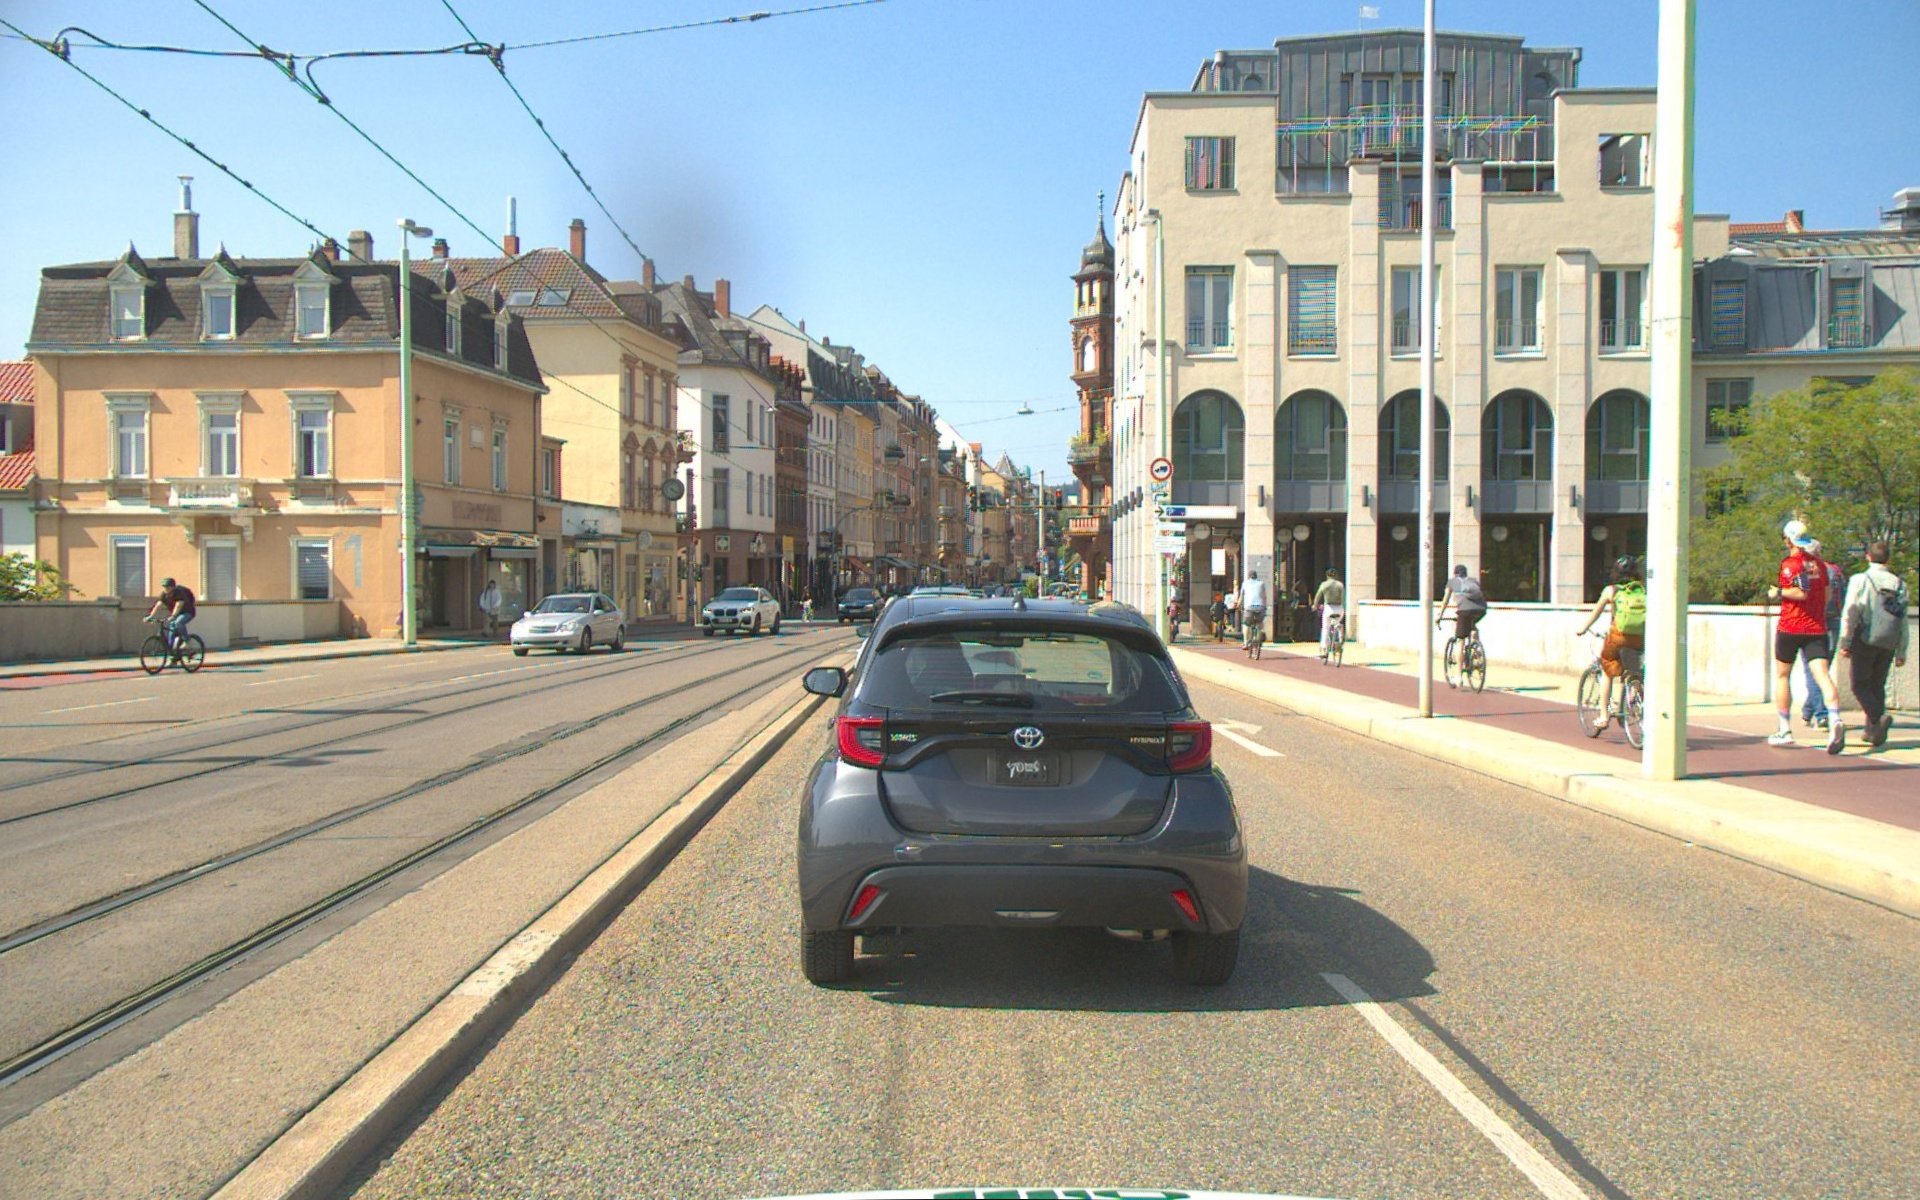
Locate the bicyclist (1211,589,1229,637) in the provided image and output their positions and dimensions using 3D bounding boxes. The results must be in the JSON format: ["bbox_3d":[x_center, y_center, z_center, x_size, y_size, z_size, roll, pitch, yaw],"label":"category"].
[{"bbox_3d":[7.716,0.380,49.116,0.413,1.407,0.443,-2,0,-1],"label":"bicyclist"}]

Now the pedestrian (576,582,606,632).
[{"bbox_3d":[-13.017,0.246,58.359,0.746,1.682,0.712,4,0,7],"label":"pedestrian"}]

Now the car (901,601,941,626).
[{"bbox_3d":[-2.416,0.825,102.598,1.951,1.457,4.003,1,0,6],"label":"car"}]

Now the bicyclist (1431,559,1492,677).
[{"bbox_3d":[6.862,0.238,22.648,0.575,1.586,0.701,-1,0,-3],"label":"bicyclist"}]

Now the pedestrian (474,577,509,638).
[{"bbox_3d":[-14.261,0.234,50.381,0.721,1.796,0.787,4,0,-1],"label":"pedestrian"}]

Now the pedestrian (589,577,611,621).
[{"bbox_3d":[-14.067,-0.043,64.589,0.636,1.629,0.566,4,2,-1],"label":"pedestrian"}]

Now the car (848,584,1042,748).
[{"bbox_3d":[-0.185,0.634,18.137,1.859,1.557,3.999,1,0,-1],"label":"car"}]

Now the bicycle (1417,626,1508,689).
[{"bbox_3d":[6.868,0.773,22.691,0.582,0.779,1.830,-1,0,-3],"label":"bicycle"}]

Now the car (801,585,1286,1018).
[{"bbox_3d":[0.261,0.703,7.673,1.685,1.499,3.657,1,0,-1],"label":"car"}]

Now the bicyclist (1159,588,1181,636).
[{"bbox_3d":[6.249,0.349,49.210,0.523,1.407,0.669,-2,0,-1],"label":"bicyclist"}]

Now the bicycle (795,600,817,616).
[{"bbox_3d":[-7.695,0.393,82.890,0.607,0.728,2.047,2,1,8],"label":"bicycle"}]

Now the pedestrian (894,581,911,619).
[{"bbox_3d":[-4.105,-0.024,118.156,1.030,2.632,1.501,4,0,-1],"label":"pedestrian"}]

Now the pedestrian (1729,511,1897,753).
[{"bbox_3d":[7.214,0.259,14.039,0.794,1.958,1.127,-1,0,-1],"label":"pedestrian"}]

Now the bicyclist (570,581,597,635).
[{"bbox_3d":[-11.943,0.256,52.514,0.614,1.679,0.622,2,1,8],"label":"bicyclist"}]

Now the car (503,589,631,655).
[{"bbox_3d":[-9.272,0.498,39.386,1.694,1.486,4.376,0,0,4],"label":"car"}]

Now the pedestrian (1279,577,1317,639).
[{"bbox_3d":[9.341,0.220,45.721,0.724,1.642,1.015,4,0,-1],"label":"pedestrian"}]

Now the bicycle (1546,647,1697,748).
[{"bbox_3d":[5.928,0.851,14.923,0.581,0.779,1.866,-1,0,-1],"label":"bicycle"}]

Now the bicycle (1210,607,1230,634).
[{"bbox_3d":[7.723,0.596,49.086,0.408,0.779,0.961,-2,0,-1],"label":"bicycle"}]

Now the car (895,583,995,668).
[{"bbox_3d":[-0.325,0.470,33.405,1.859,1.557,3.999,1,0,-1],"label":"car"}]

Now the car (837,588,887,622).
[{"bbox_3d":[-4.626,0.215,78.620,1.756,1.572,3.923,0,0,6],"label":"car"}]

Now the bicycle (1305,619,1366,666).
[{"bbox_3d":[6.795,0.762,30.005,0.582,0.779,1.865,-1,0,-3],"label":"bicycle"}]

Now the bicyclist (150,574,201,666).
[{"bbox_3d":[-14.697,0.372,30.992,0.614,1.679,0.622,2,1,0],"label":"bicyclist"}]

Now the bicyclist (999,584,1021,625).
[{"bbox_3d":[3.206,0.296,106.448,1.202,2.572,1.105,4,0,3],"label":"bicyclist"}]

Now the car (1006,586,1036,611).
[{"bbox_3d":[5.518,-0.119,148.184,1.951,2.048,4.003,4,0,11],"label":"car"}]

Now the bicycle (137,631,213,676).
[{"bbox_3d":[-14.716,0.996,31.057,0.608,0.728,1.731,2,1,-1],"label":"bicycle"}]

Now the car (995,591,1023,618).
[{"bbox_3d":[4.013,0.362,134.834,1.952,2.048,4.002,4,0,4],"label":"car"}]

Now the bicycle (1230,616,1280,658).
[{"bbox_3d":[6.007,0.741,33.752,0.582,0.779,1.865,-1,0,-3],"label":"bicycle"}]

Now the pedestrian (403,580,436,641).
[{"bbox_3d":[-15.194,0.289,46.513,0.636,1.629,0.566,4,2,-1],"label":"pedestrian"}]

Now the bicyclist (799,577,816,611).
[{"bbox_3d":[-7.653,-0.326,83.014,0.690,1.679,0.622,2,1,8],"label":"bicyclist"}]

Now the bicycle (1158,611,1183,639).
[{"bbox_3d":[6.253,0.746,49.262,0.503,0.779,1.660,-2,0,-1],"label":"bicycle"}]

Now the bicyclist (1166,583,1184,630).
[{"bbox_3d":[6.848,0.207,52.681,0.433,1.492,0.485,-2,0,21],"label":"bicyclist"}]

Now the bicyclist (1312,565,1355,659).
[{"bbox_3d":[6.777,0.218,30.018,0.575,1.679,0.701,-1,0,-3],"label":"bicyclist"}]

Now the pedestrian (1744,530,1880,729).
[{"bbox_3d":[8.173,0.268,15.900,0.724,1.833,1.015,-2,0,-1],"label":"pedestrian"}]

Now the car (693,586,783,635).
[{"bbox_3d":[-7.560,0.352,56.840,1.951,1.614,4.656,0,0,7],"label":"car"}]

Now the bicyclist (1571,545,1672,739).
[{"bbox_3d":[5.910,0.364,14.801,0.592,1.679,0.702,-1,0,0],"label":"bicyclist"}]

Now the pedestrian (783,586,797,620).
[{"bbox_3d":[-9.230,0.165,89.877,0.721,1.797,0.787,0,1,-1],"label":"pedestrian"}]

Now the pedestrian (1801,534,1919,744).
[{"bbox_3d":[8.003,0.319,14.426,0.739,1.748,1.073,-2,0,-1],"label":"pedestrian"}]

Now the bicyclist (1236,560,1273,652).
[{"bbox_3d":[5.996,0.126,33.731,0.575,1.852,0.701,-1,0,-3],"label":"bicyclist"}]

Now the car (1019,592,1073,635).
[{"bbox_3d":[3.166,0.462,61.527,1.671,1.491,4.325,1,0,-1],"label":"car"}]
